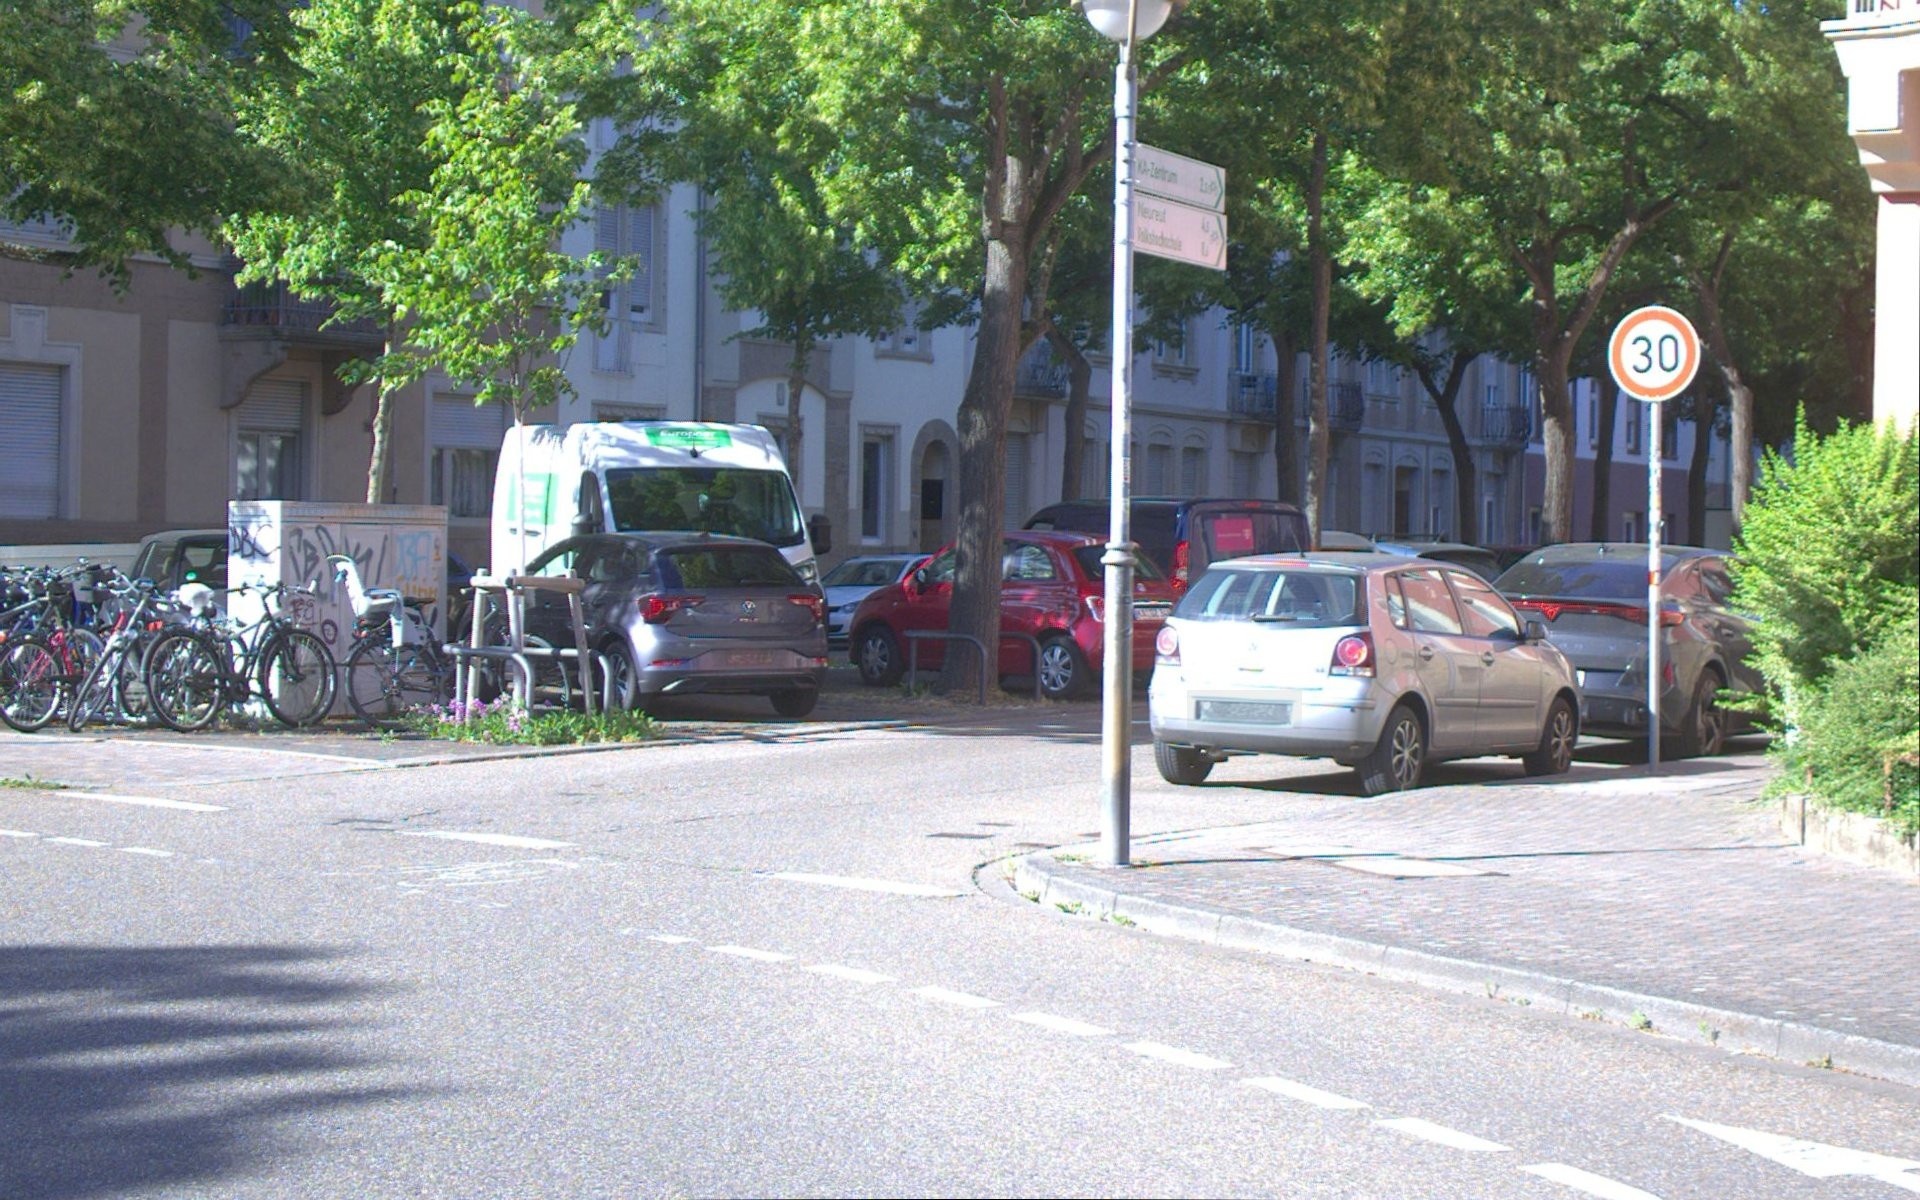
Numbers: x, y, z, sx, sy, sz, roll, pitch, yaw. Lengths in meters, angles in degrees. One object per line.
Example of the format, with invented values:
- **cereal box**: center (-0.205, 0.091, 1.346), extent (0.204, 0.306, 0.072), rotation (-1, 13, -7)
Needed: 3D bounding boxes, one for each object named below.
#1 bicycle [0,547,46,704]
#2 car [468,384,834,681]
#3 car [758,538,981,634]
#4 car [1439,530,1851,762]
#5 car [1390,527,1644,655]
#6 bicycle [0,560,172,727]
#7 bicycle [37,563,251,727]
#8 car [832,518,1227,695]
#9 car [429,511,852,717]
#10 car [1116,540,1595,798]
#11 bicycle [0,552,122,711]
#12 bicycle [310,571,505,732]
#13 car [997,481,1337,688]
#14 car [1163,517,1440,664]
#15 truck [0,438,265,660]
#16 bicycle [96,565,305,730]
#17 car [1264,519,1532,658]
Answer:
- **bicycle**: center (-7.449, 0.191, 24.928), extent (0.588, 1.123, 1.599), rotation (3, 3, 32)
- **car**: center (-3.177, -0.718, 33.760), extent (2.096, 2.591, 6.379), rotation (2, 2, -18)
- **car**: center (-1.319, -0.227, 51.854), extent (1.685, 1.385, 3.916), rotation (0, 1, 27)
- **car**: center (5.310, 0.298, 26.234), extent (1.686, 1.557, 4.287), rotation (3, 2, 31)
- **car**: center (7.063, -0.139, 43.882), extent (1.682, 1.465, 3.385), rotation (1, 2, -21)
- **bicycle**: center (-6.329, 0.288, 24.142), extent (0.499, 1.098, 1.647), rotation (3, 3, 34)
- **bicycle**: center (-5.696, 0.296, 24.075), extent (0.419, 1.085, 1.571), rotation (3, 3, 34)
- **car**: center (0.606, 0.030, 31.723), extent (1.684, 1.441, 3.382), rotation (0, 2, -45)
- **car**: center (-2.653, 0.073, 27.765), extent (1.683, 1.441, 3.922), rotation (1, 2, -34)
- **car**: center (2.605, 0.381, 21.986), extent (1.686, 1.441, 3.540), rotation (3, 2, 31)
- **bicycle**: center (-6.860, 0.220, 24.527), extent (0.656, 1.085, 1.727), rotation (3, 3, 32)
- **bicycle**: center (-3.939, 0.351, 24.581), extent (0.419, 1.082, 1.523), rotation (3, 3, 34)
- **car**: center (1.980, -0.181, 33.687), extent (1.682, 1.858, 3.385), rotation (1, 2, -30)
- **car**: center (3.743, -0.130, 38.248), extent (1.682, 1.465, 3.385), rotation (1, 2, -21)
- **truck**: center (-10.478, -0.536, 36.525), extent (2.136, 2.284, 6.609), rotation (0, 1, 32)
- **bicycle**: center (-5.268, 0.312, 23.908), extent (0.419, 1.082, 1.523), rotation (3, 3, 34)
- **car**: center (5.116, -0.158, 40.531), extent (1.682, 1.465, 3.385), rotation (1, 2, -21)
